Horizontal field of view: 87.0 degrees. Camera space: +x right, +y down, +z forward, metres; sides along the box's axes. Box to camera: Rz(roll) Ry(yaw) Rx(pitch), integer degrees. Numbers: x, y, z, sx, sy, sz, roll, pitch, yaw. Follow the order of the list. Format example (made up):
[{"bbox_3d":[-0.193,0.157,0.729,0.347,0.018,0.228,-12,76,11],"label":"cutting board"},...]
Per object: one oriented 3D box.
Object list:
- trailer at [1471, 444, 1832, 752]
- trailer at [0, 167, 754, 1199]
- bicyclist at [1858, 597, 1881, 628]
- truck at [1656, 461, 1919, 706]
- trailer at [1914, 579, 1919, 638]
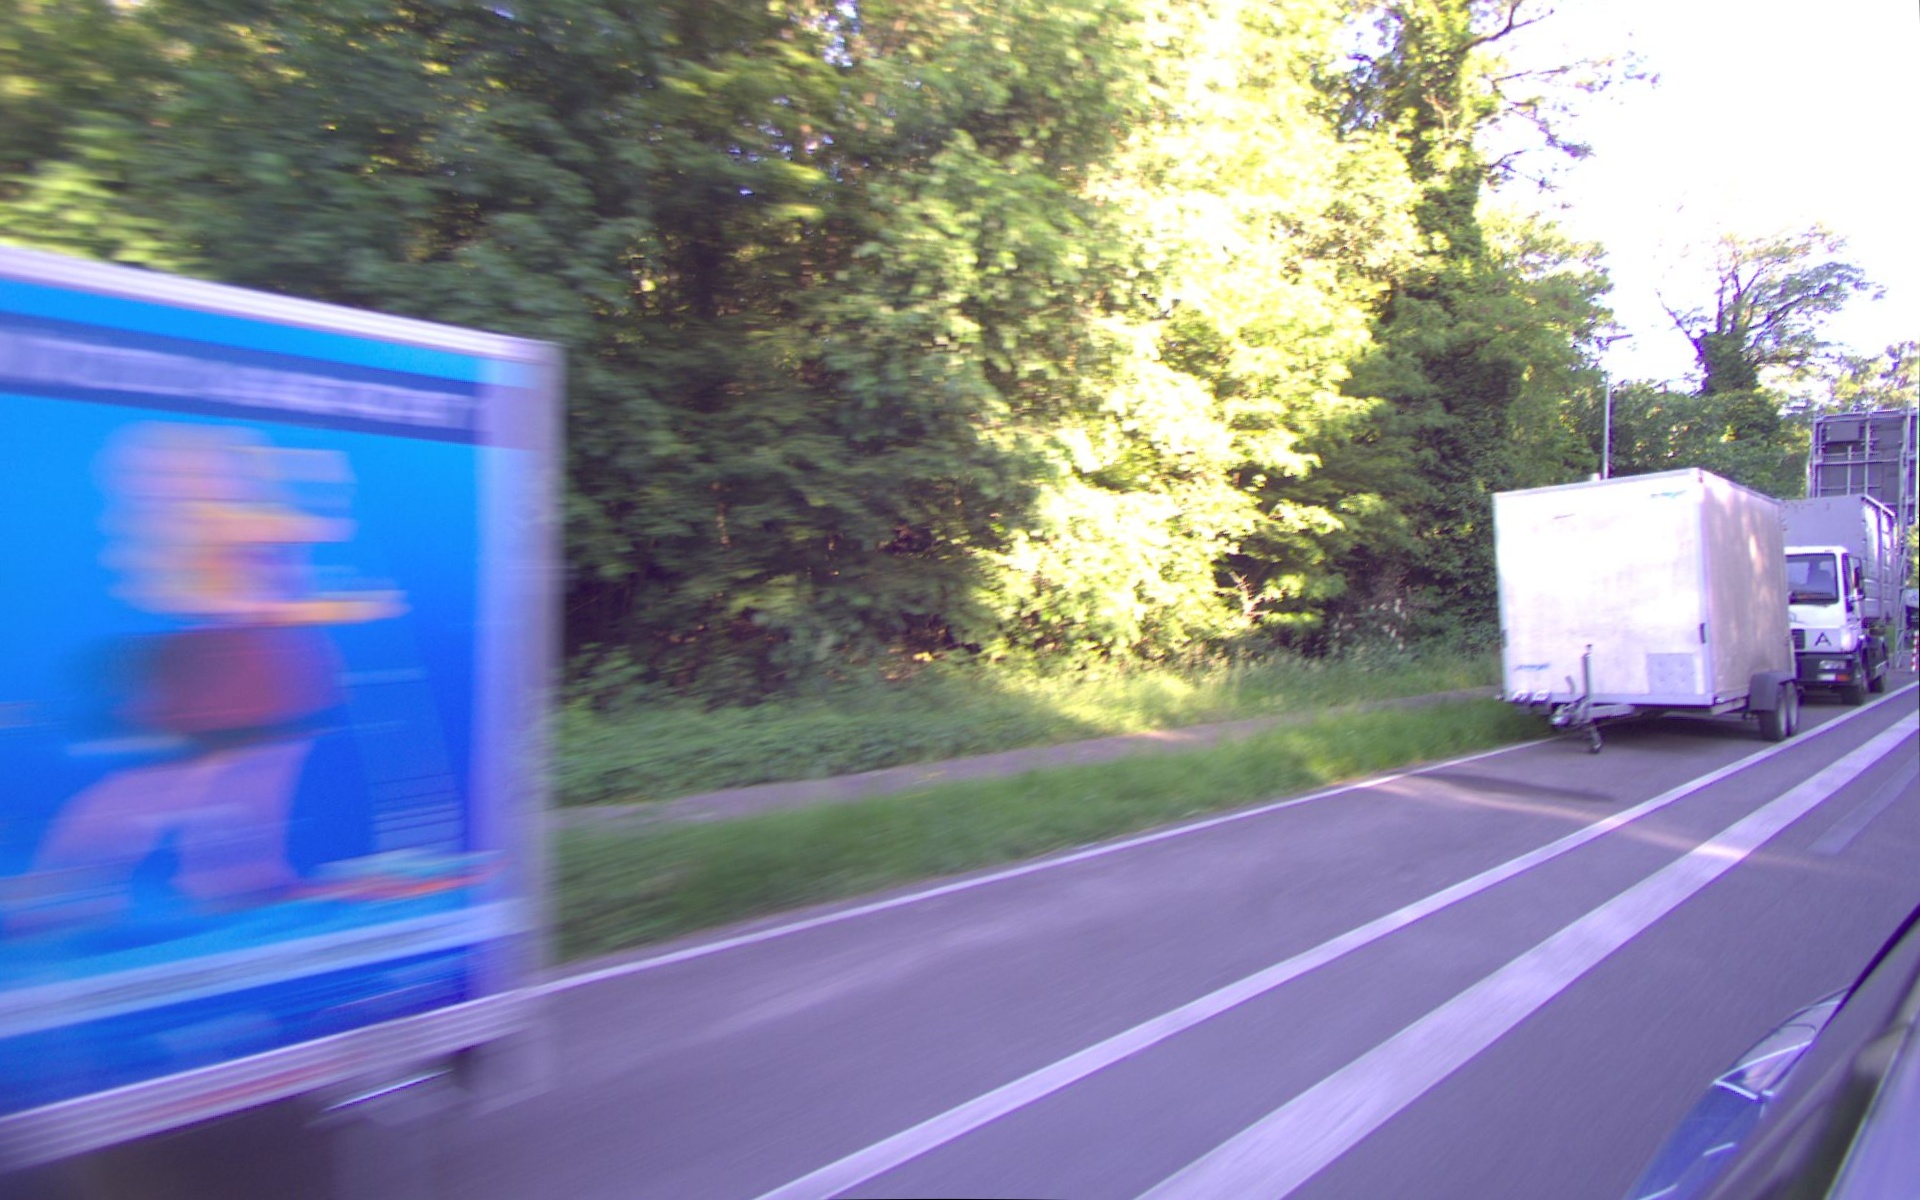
[{"bbox_3d":[8.350,-0.022,12.017,5.115,2.881,2.276,0,0,-40],"label":"trailer"},{"bbox_3d":[-2.701,0.410,1.723,4.470,2.264,1.502,0,-1,-41],"label":"trailer"},{"bbox_3d":[39.804,0.534,44.277,1.155,1.341,0.611,0,0,-41],"label":"bicyclist"},{"bbox_3d":[14.452,-0.258,17.331,6.983,3.409,2.509,0,0,-41],"label":"truck"},{"bbox_3d":[36.221,0.310,36.604,2.346,2.139,1.623,0,0,-20],"label":"trailer"}]
